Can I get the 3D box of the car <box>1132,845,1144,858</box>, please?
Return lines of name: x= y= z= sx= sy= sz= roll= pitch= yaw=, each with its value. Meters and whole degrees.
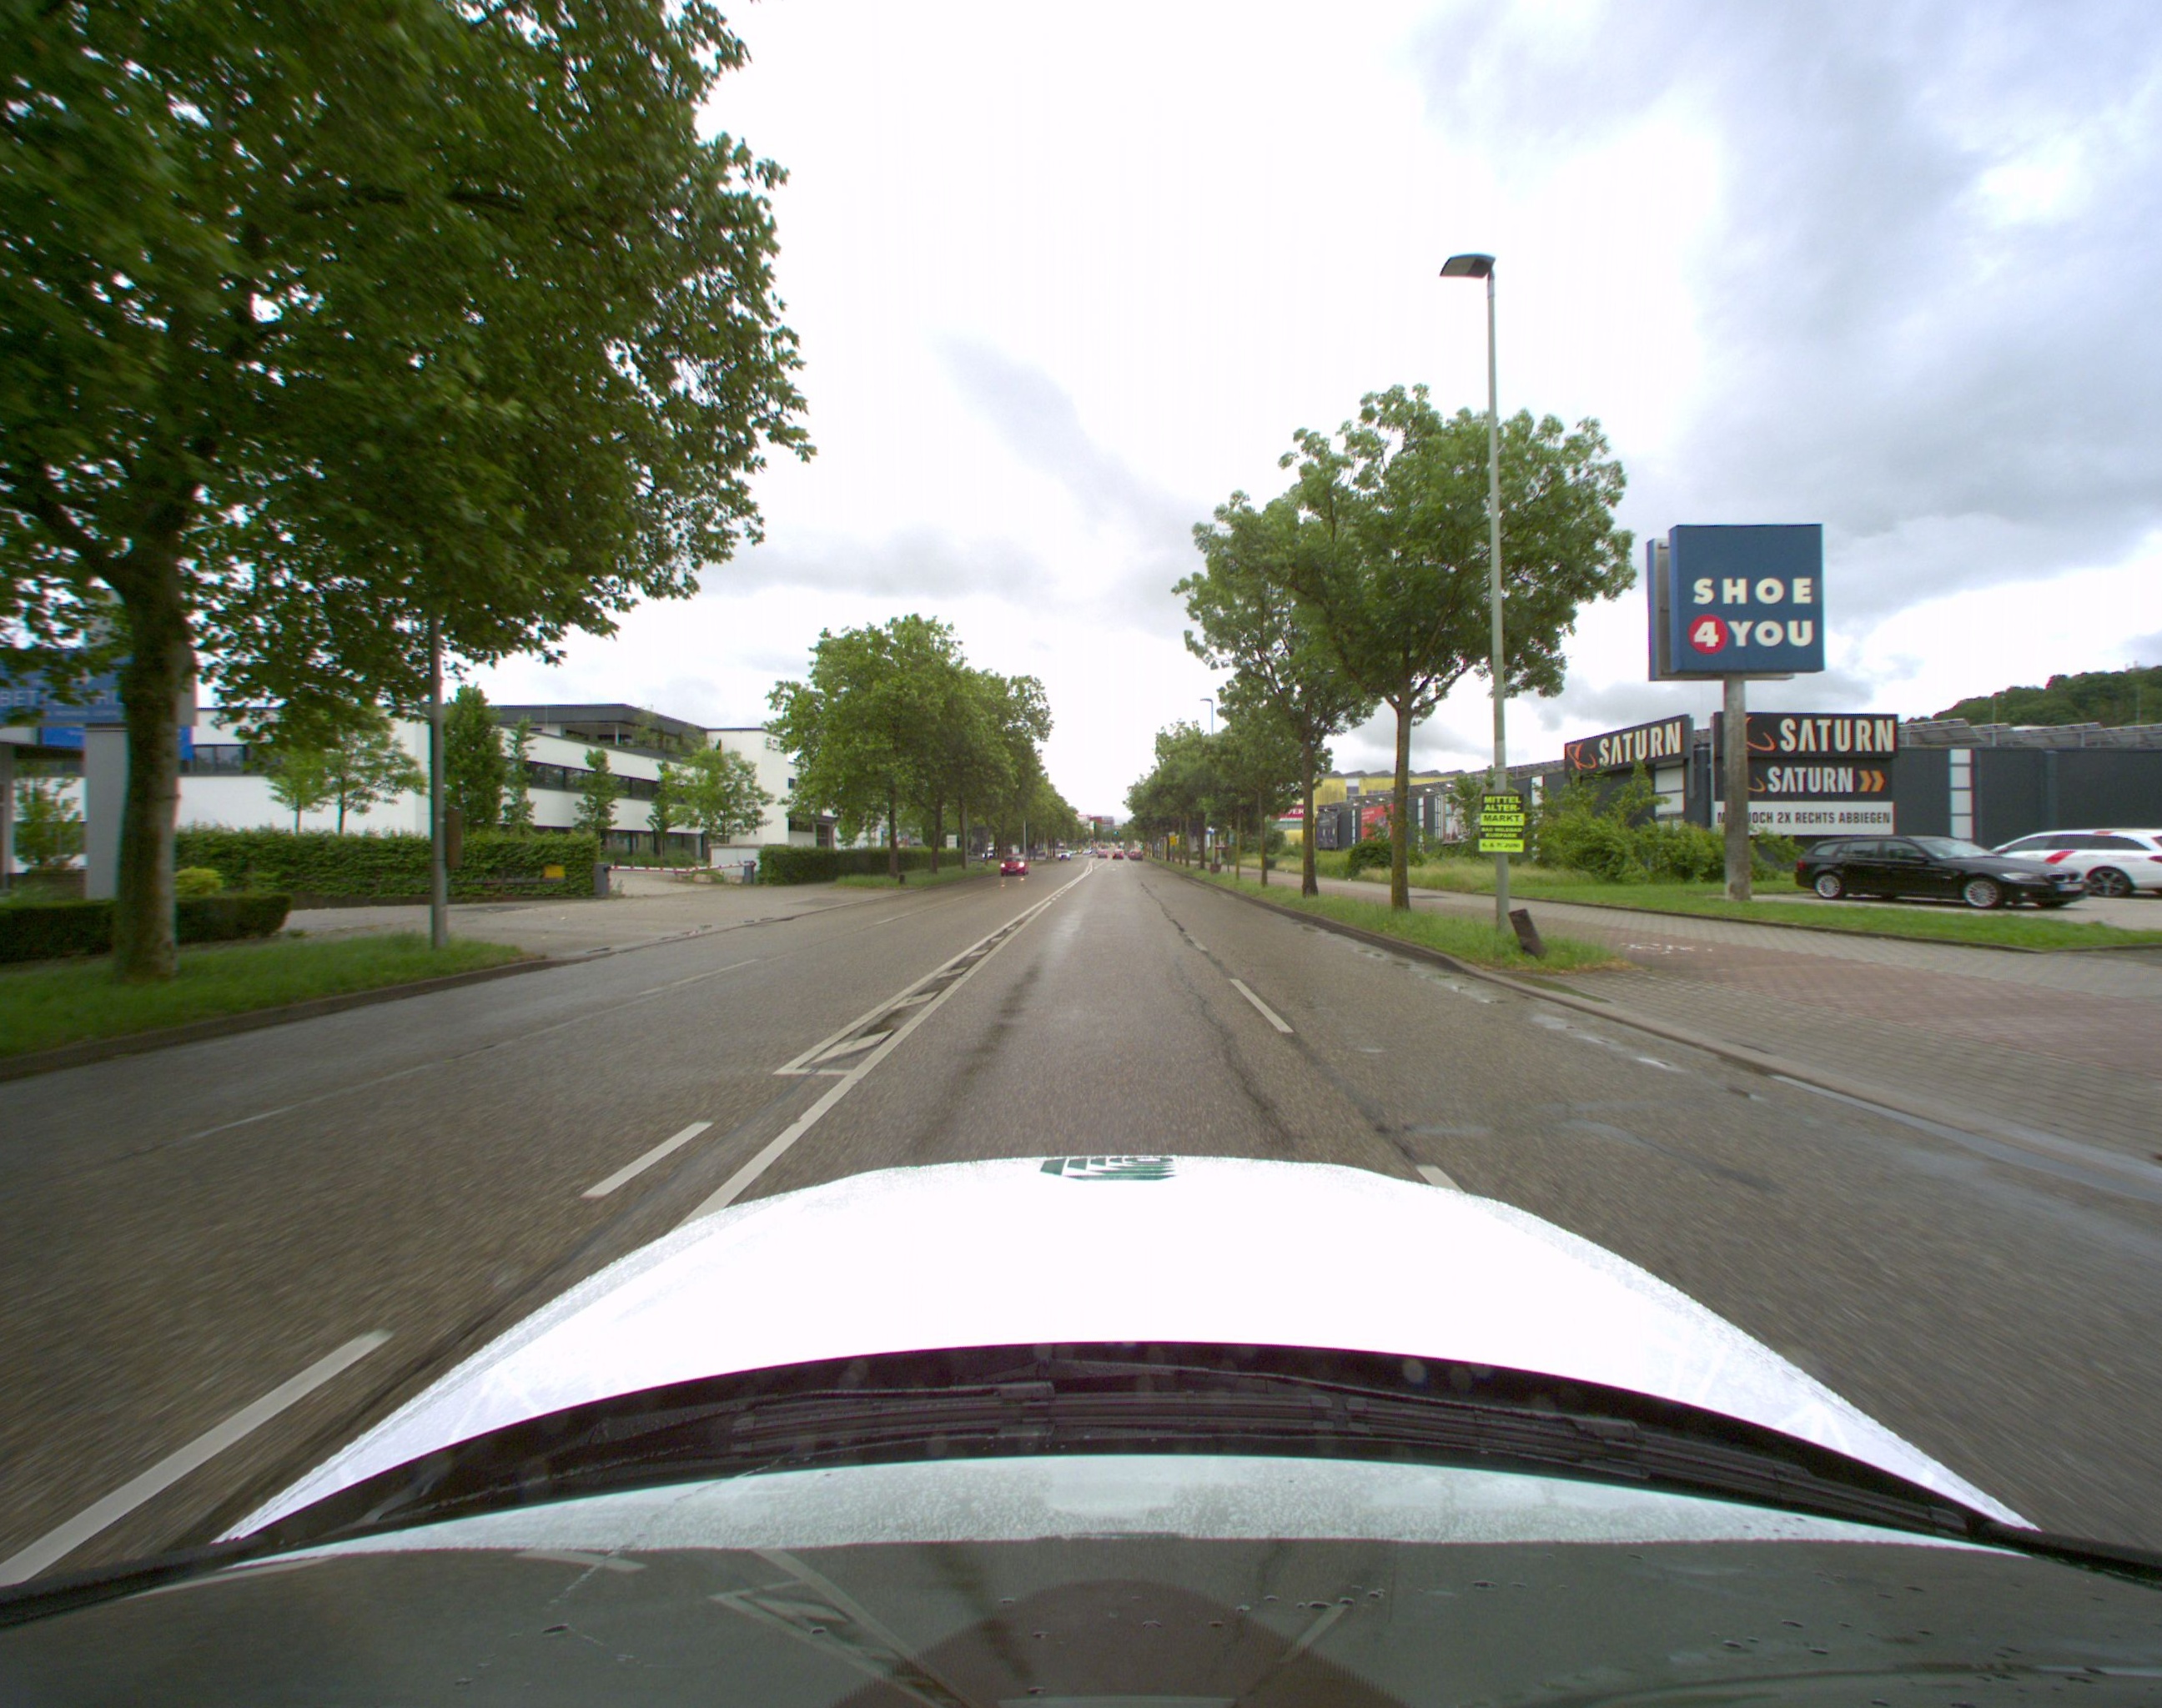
car: x=9.393 y=-0.391 z=134.239 sx=1.737 sy=2.013 sz=4.004 roll=-1 pitch=0 yaw=4

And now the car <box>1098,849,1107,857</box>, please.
car: x=4.496 y=-0.198 z=170.939 sx=1.737 sy=1.701 sz=4.004 roll=-1 pitch=0 yaw=4

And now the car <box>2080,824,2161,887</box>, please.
car: x=25.438 y=0.015 z=18.234 sx=1.578 sy=1.441 sz=3.579 roll=-1 pitch=0 yaw=-7

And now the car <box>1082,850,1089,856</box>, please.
car: x=1.269 y=-0.221 z=230.274 sx=1.821 sy=1.728 sz=4.000 roll=-1 pitch=0 yaw=0

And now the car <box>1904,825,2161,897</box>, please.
car: x=22.619 y=0.103 z=18.838 sx=1.878 sy=1.468 sz=4.940 roll=-1 pitch=1 yaw=-7

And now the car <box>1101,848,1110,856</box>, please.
car: x=5.581 y=-0.464 z=185.618 sx=1.883 sy=1.876 sz=4.126 roll=-1 pitch=0 yaw=2

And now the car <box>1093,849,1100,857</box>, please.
car: x=4.035 y=-0.173 z=212.890 sx=1.821 sy=2.013 sz=4.000 roll=-1 pitch=0 yaw=0

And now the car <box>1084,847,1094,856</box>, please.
car: x=1.849 y=-0.520 z=184.050 sx=1.986 sy=2.013 sz=4.002 roll=-1 pitch=0 yaw=2

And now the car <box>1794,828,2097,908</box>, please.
car: x=17.697 y=0.229 z=17.025 sx=1.576 sy=1.428 sz=4.256 roll=-1 pitch=1 yaw=-7

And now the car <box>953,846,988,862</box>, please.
car: x=-13.704 y=0.036 z=101.159 sx=3.971 sy=1.924 sz=1.827 roll=-2 pitch=-1 yaw=2

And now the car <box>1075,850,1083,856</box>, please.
car: x=-0.642 y=-0.318 z=253.227 sx=2.208 sy=2.013 sz=4.000 roll=-2 pitch=0 yaw=0

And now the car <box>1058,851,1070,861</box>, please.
car: x=-2.877 y=0.302 z=140.070 sx=1.696 sy=1.737 sz=4.005 roll=-1 pitch=0 yaw=5

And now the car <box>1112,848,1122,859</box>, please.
car: x=6.569 y=-0.102 z=148.190 sx=1.737 sy=2.013 sz=4.004 roll=-1 pitch=0 yaw=4

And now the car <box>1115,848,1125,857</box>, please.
car: x=7.729 y=-0.367 z=161.532 sx=1.737 sy=1.737 sz=4.004 roll=-1 pitch=0 yaw=4

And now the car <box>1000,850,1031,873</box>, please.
car: x=-4.585 y=0.495 z=57.350 sx=1.719 sy=1.517 sz=3.823 roll=-1 pitch=0 yaw=2
